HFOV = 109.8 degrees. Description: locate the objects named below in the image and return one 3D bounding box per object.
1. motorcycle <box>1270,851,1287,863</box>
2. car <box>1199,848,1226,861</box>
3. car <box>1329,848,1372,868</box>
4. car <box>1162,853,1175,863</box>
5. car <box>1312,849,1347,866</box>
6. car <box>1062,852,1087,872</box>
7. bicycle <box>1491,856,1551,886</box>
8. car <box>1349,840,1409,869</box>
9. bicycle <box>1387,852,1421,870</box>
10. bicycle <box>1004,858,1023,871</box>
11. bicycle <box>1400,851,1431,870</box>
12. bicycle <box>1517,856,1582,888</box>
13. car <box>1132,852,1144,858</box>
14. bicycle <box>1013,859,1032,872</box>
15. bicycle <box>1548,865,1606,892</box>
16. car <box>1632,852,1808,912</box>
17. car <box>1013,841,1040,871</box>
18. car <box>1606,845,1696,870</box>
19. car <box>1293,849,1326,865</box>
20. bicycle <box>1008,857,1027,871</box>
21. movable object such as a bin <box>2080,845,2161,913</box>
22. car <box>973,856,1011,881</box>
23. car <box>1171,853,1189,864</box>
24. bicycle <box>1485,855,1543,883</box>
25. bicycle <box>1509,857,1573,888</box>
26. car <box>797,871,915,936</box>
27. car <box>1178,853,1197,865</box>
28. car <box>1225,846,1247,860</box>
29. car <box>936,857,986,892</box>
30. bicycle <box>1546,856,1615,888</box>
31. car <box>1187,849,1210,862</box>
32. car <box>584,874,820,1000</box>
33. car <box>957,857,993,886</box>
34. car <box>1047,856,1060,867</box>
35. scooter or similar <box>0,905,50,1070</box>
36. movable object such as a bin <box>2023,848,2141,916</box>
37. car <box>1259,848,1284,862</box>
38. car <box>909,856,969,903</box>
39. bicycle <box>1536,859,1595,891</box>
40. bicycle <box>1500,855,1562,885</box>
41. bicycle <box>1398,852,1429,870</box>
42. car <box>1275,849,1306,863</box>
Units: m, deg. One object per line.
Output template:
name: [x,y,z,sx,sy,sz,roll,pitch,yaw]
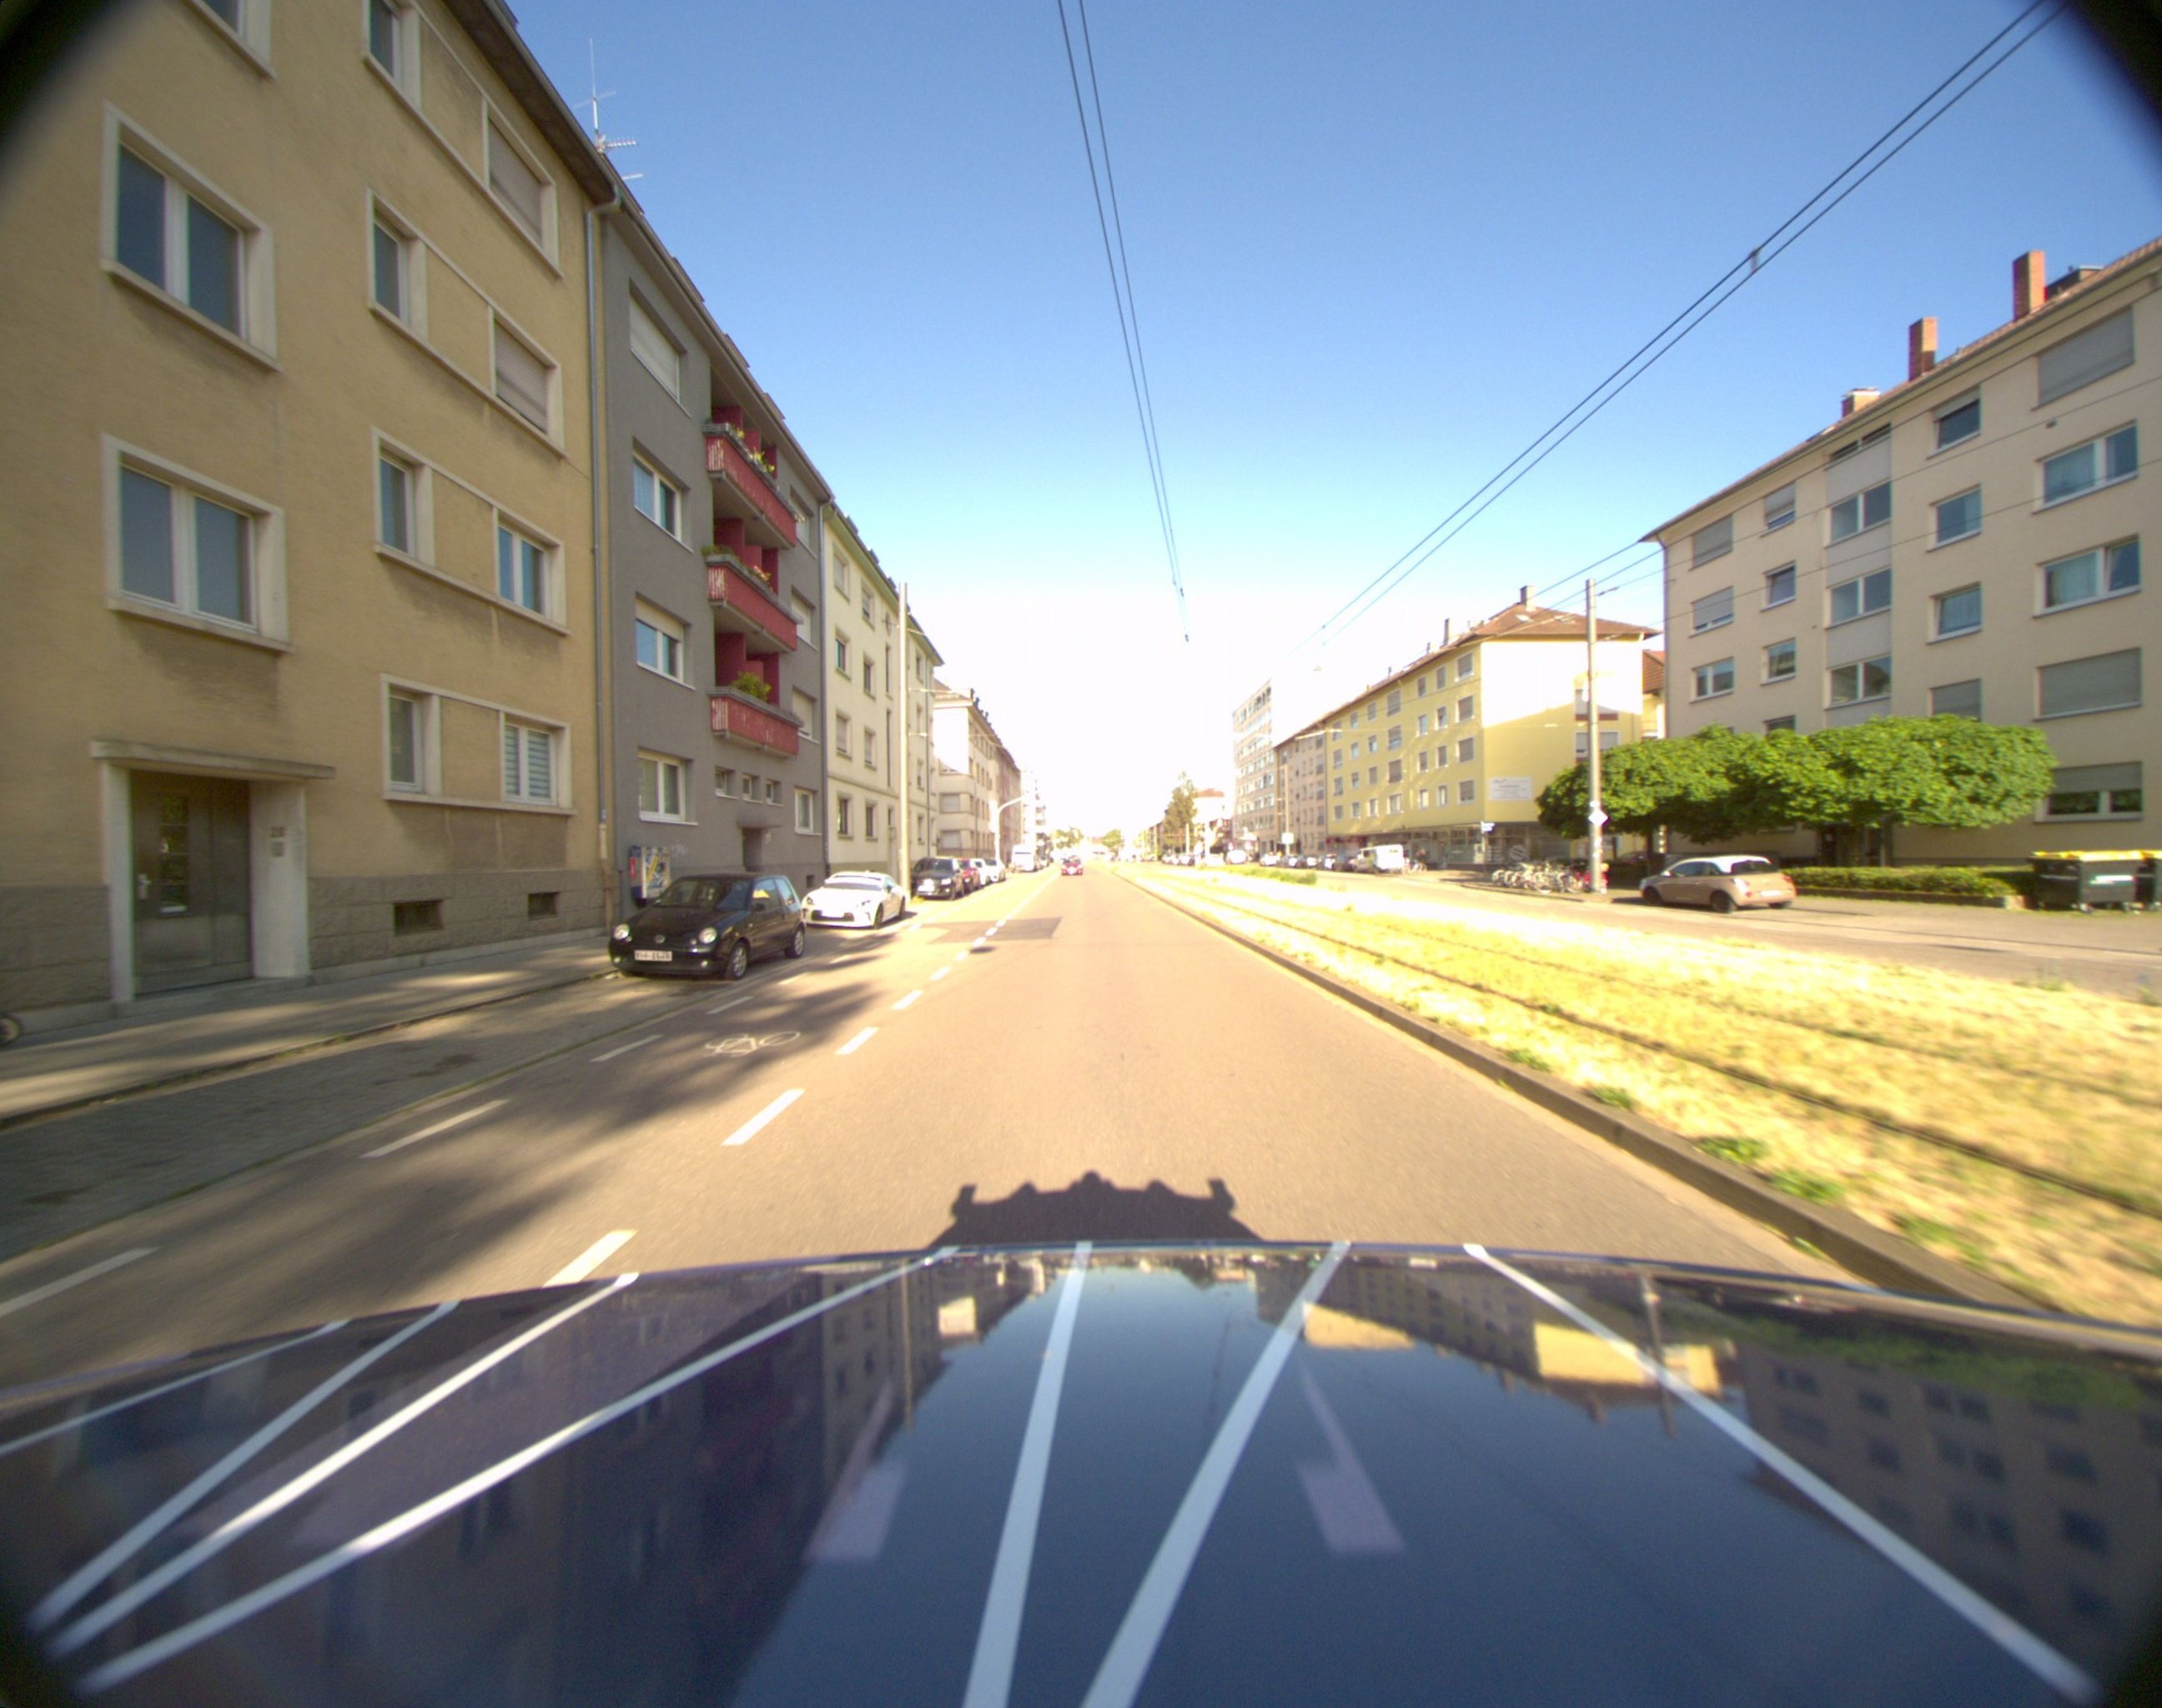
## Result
motorcycle: [21.812,0.343,83.914,2.115,1.132,0.486,-4,1,-33]
car: [14.725,0.078,85.045,1.839,1.377,4.412,0,0,-6]
car: [22.180,0.327,62.754,1.787,1.465,4.595,-4,0,0]
car: [13.700,0.625,119.260,1.617,1.550,3.999,1,0,-1]
car: [22.367,0.313,68.532,1.787,1.377,3.767,-4,0,0]
car: [-0.468,0.600,58.805,1.862,1.461,3.808,0,0,1]
bicycle: [18.331,0.713,31.655,2.052,1.086,0.616,-4,1,6]
car: [22.285,0.008,57.066,1.999,1.938,5.499,-4,0,-3]
bicycle: [22.431,0.471,52.750,2.103,1.099,0.472,-4,1,0]
bicycle: [-5.863,0.880,65.925,1.912,1.080,0.475,1,-1,43]
bicycle: [22.376,0.433,50.836,1.824,1.099,0.390,-4,1,0]
bicycle: [18.186,0.690,29.526,2.052,1.086,0.616,-4,1,6]
car: [15.256,0.277,203.993,1.718,1.379,3.719,-3,1,31]
bicycle: [-5.244,1.001,67.810,0.487,1.081,2.023,-4,1,-42]
bicycle: [17.717,0.860,27.205,0.377,0.861,2.052,-4,0,-11]
car: [17.604,0.702,21.173,1.640,1.434,3.733,-3,0,-2]
car: [-5.155,0.176,72.665,2.156,2.680,6.291,1,0,0]
car: [33.599,0.205,44.870,3.998,1.405,1.772,0,0,-2]
car: [22.175,0.275,73.909,1.787,1.412,4.414,-4,0,0]
bicycle: [-5.656,0.878,67.154,1.912,1.081,0.474,1,5,43]
movable object such as a bin: [22.981,0.515,16.496,1.149,1.360,1.039,-4,1,3]
car: [-5.345,0.849,46.001,1.698,1.450,4.379,0,0,1]
car: [13.804,0.633,106.128,1.862,1.541,4.239,1,0,-2]
bicycle: [18.397,0.635,32.308,2.052,1.086,0.616,-4,1,6]
bicycle: [18.249,0.732,30.165,2.052,1.086,0.616,-4,1,6]
car: [-5.510,1.151,19.162,1.706,1.268,4.302,2,0,-1]
car: [13.811,0.650,98.944,1.787,1.572,4.607,0,0,0]
car: [22.459,-0.096,110.155,1.999,1.887,4.669,-3,0,-2]
car: [-5.521,0.906,35.420,1.639,1.508,4.188,0,0,1]
bicycle: [18.487,0.679,28.156,2.050,1.086,0.616,-3,1,27]
car: [14.152,0.213,91.698,1.788,1.519,4.413,0,0,-5]
car: [-5.456,1.103,11.517,1.639,1.445,3.789,1,0,0]
car: [-5.689,0.917,41.174,1.640,1.450,4.080,0,0,-4]
car: [-4.043,1.037,111.406,1.763,1.543,2.649,0,0,-2]
scooter or similar: [-8.478,1.034,5.396,0.459,1.231,1.338,3,1,1]
movable object such as a bin: [21.772,0.590,16.550,1.149,1.360,1.039,-4,1,3]
car: [22.007,0.079,87.802,1.763,1.477,4.199,-4,0,0]
car: [-5.455,0.912,29.639,1.640,1.638,4.372,1,0,-2]
bicycle: [17.242,0.737,27.088,0.511,1.086,1.934,-4,0,-11]
bicycle: [18.319,0.658,30.976,2.052,1.086,0.616,-4,1,6]
bicycle: [22.443,0.493,51.265,1.824,1.099,0.390,-4,1,0]
car: [21.840,0.209,79.498,1.788,1.377,4.414,-4,0,-2]
